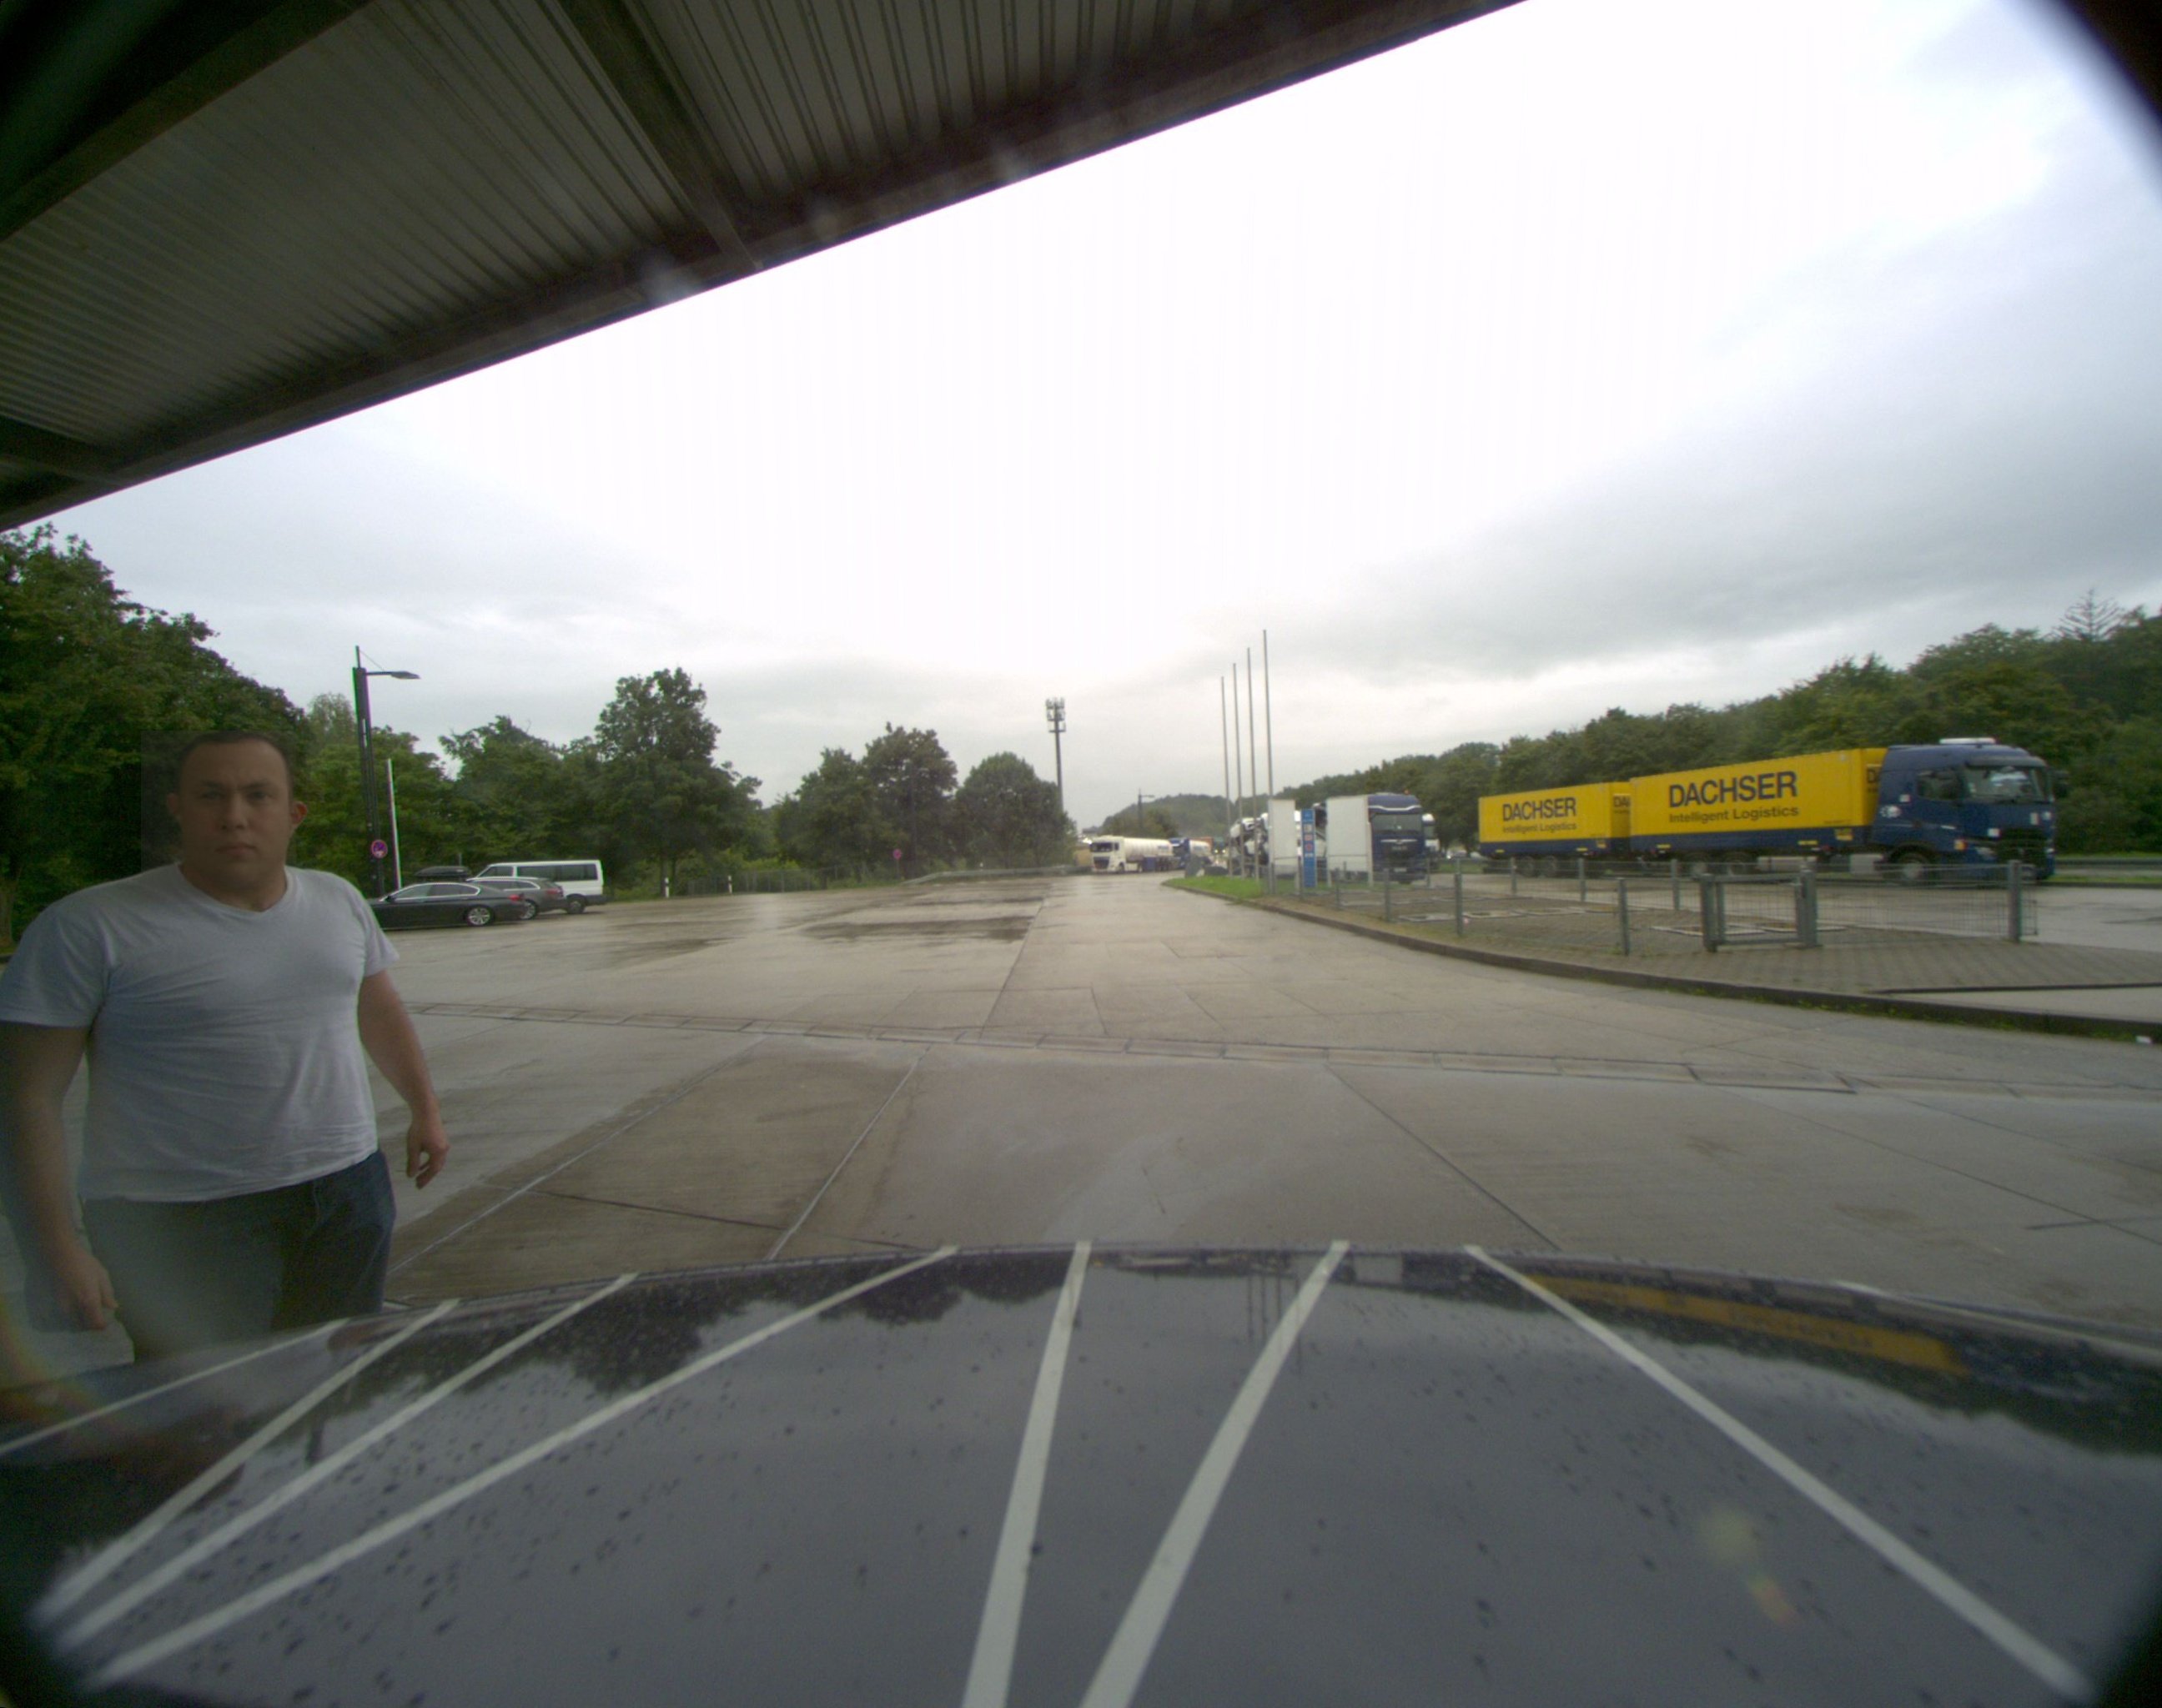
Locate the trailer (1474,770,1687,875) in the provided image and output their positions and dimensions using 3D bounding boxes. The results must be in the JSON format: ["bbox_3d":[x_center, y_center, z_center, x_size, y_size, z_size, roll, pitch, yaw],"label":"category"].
[{"bbox_3d":[21.782,-1.273,33.996,2.774,4.009,8.853,-2,1,-8],"label":"trailer"}]

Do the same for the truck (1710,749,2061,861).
[{"bbox_3d":[33.771,-1.846,32.936,2.991,4.009,10.464,-2,1,-10],"label":"truck"}]

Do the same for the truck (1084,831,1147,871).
[{"bbox_3d":[3.315,-0.352,71.443,3.243,3.544,6.114,-2,1,31],"label":"truck"}]

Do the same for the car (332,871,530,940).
[{"bbox_3d":[-19.124,1.451,22.646,4.187,1.720,1.995,-2,0,-33],"label":"car"}]

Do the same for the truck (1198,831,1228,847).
[{"bbox_3d":[32.350,-3.556,186.875,3.251,3.543,14.657,-1,0,-7],"label":"truck"}]

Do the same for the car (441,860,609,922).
[{"bbox_3d":[-20.265,1.284,27.918,4.780,1.974,2.010,-2,0,-36],"label":"car"}]

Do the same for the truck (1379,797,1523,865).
[{"bbox_3d":[24.360,-1.401,50.961,2.991,4.009,10.464,-2,1,-10],"label":"truck"}]

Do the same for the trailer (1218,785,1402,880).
[{"bbox_3d":[11.373,-0.997,40.944,2.990,4.009,16.597,-2,1,-7],"label":"trailer"}]

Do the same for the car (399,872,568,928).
[{"bbox_3d":[-19.655,1.455,25.287,4.187,1.547,1.995,-2,0,-33],"label":"car"}]

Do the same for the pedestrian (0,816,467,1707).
[{"bbox_3d":[-1.740,0.841,1.433,0.493,1.800,0.634,-2,2,10],"label":"pedestrian"}]

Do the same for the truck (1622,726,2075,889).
[{"bbox_3d":[23.059,-1.212,24.313,2.774,4.009,10.632,-2,1,-8],"label":"truck"}]

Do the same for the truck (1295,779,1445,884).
[{"bbox_3d":[12.301,-0.921,33.252,2.990,4.009,7.259,-2,1,-7],"label":"truck"}]

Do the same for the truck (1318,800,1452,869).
[{"bbox_3d":[19.757,-1.217,50.437,2.991,4.009,10.464,-2,1,-10],"label":"truck"}]

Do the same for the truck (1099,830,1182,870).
[{"bbox_3d":[6.198,-0.519,76.354,3.243,3.544,11.995,-2,1,31],"label":"truck"}]

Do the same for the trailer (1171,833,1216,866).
[{"bbox_3d":[13.667,-0.647,91.446,2.898,3.618,10.586,-2,1,22],"label":"trailer"}]

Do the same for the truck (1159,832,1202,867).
[{"bbox_3d":[11.327,-0.520,85.739,3.045,3.745,6.475,-2,1,23],"label":"truck"}]
